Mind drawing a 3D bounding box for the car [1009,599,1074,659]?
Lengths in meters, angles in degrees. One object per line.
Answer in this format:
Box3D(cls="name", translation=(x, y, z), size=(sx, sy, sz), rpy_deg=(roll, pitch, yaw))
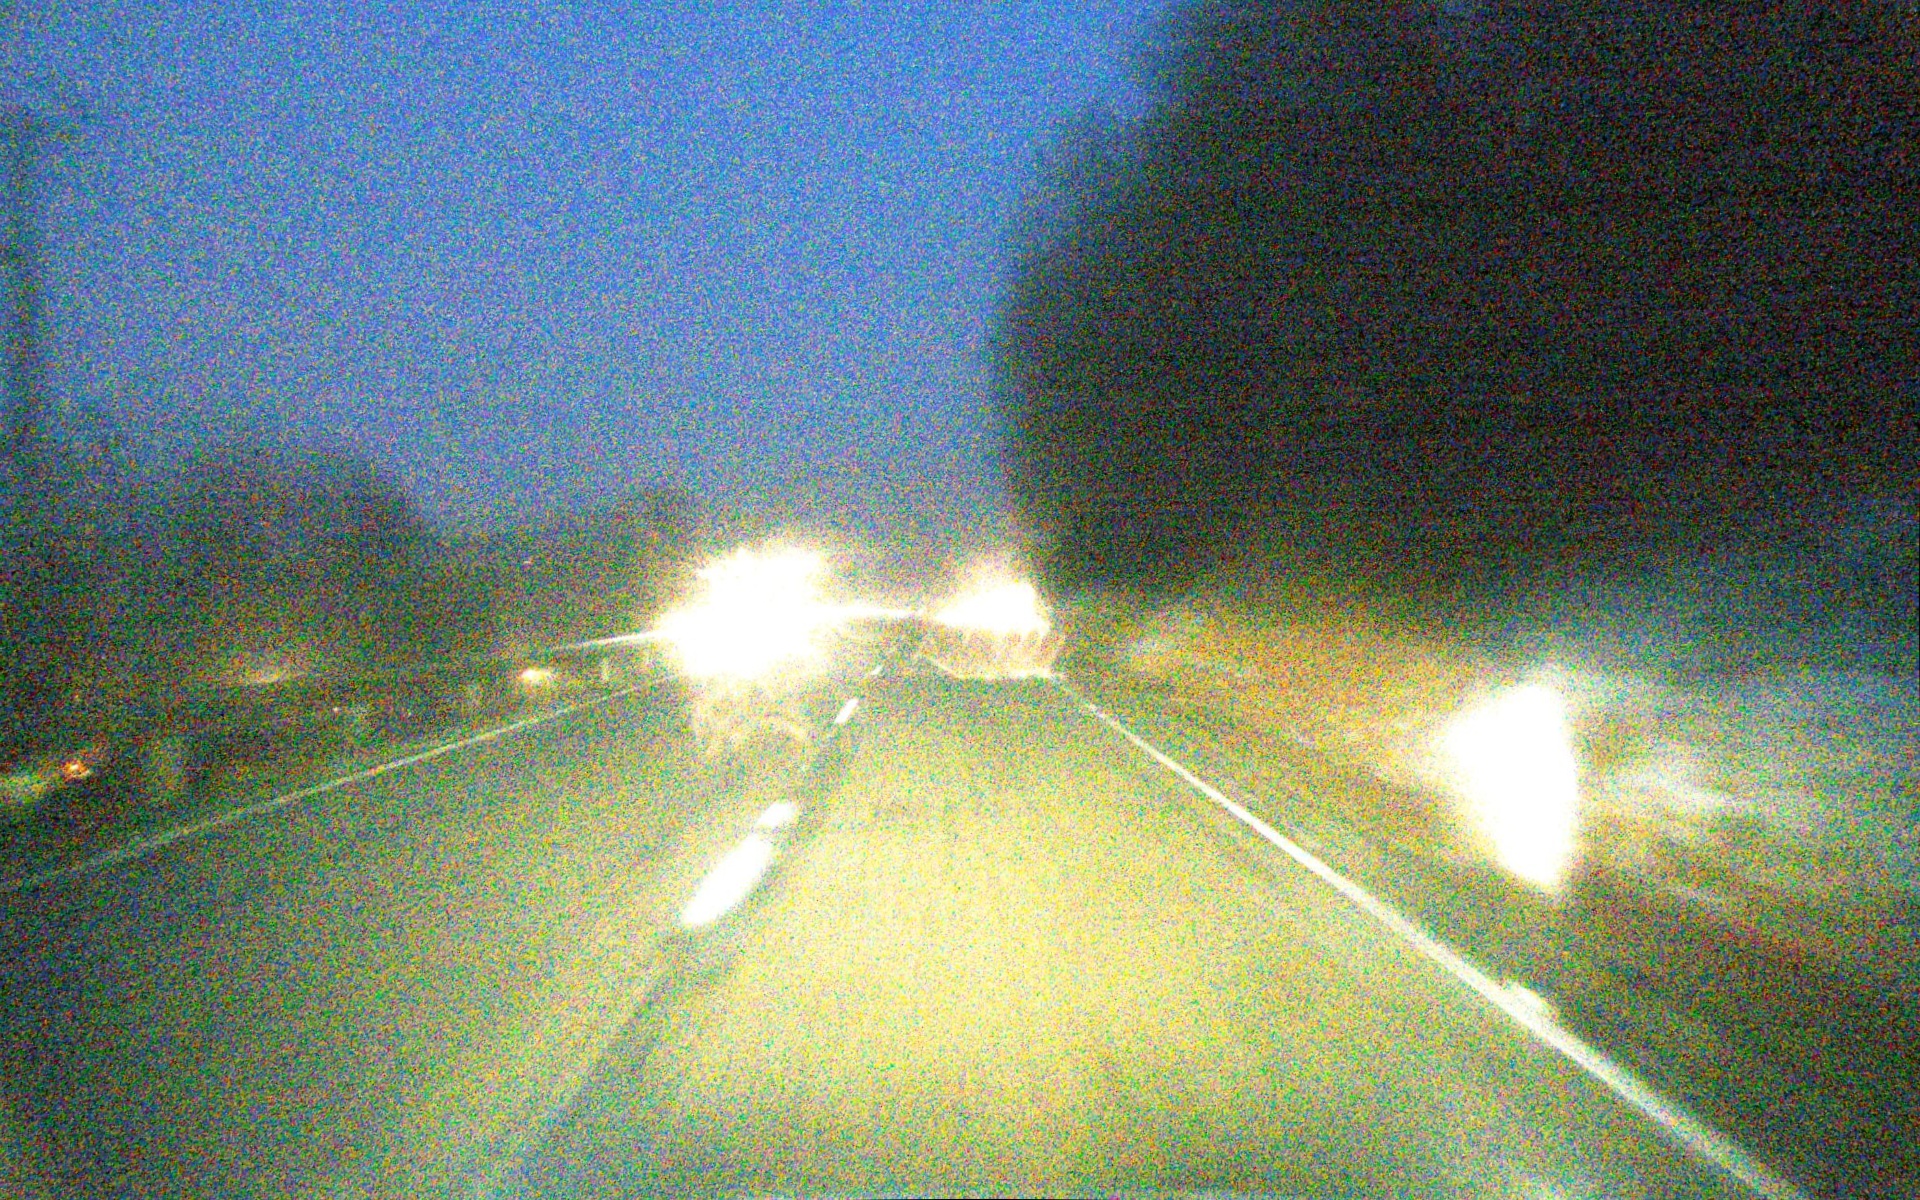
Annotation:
Box3D(cls="car", translation=(2.977, 1.098, 61.090), size=(2.152, 2.049, 4.206), rpy_deg=(1, -3, 0))
